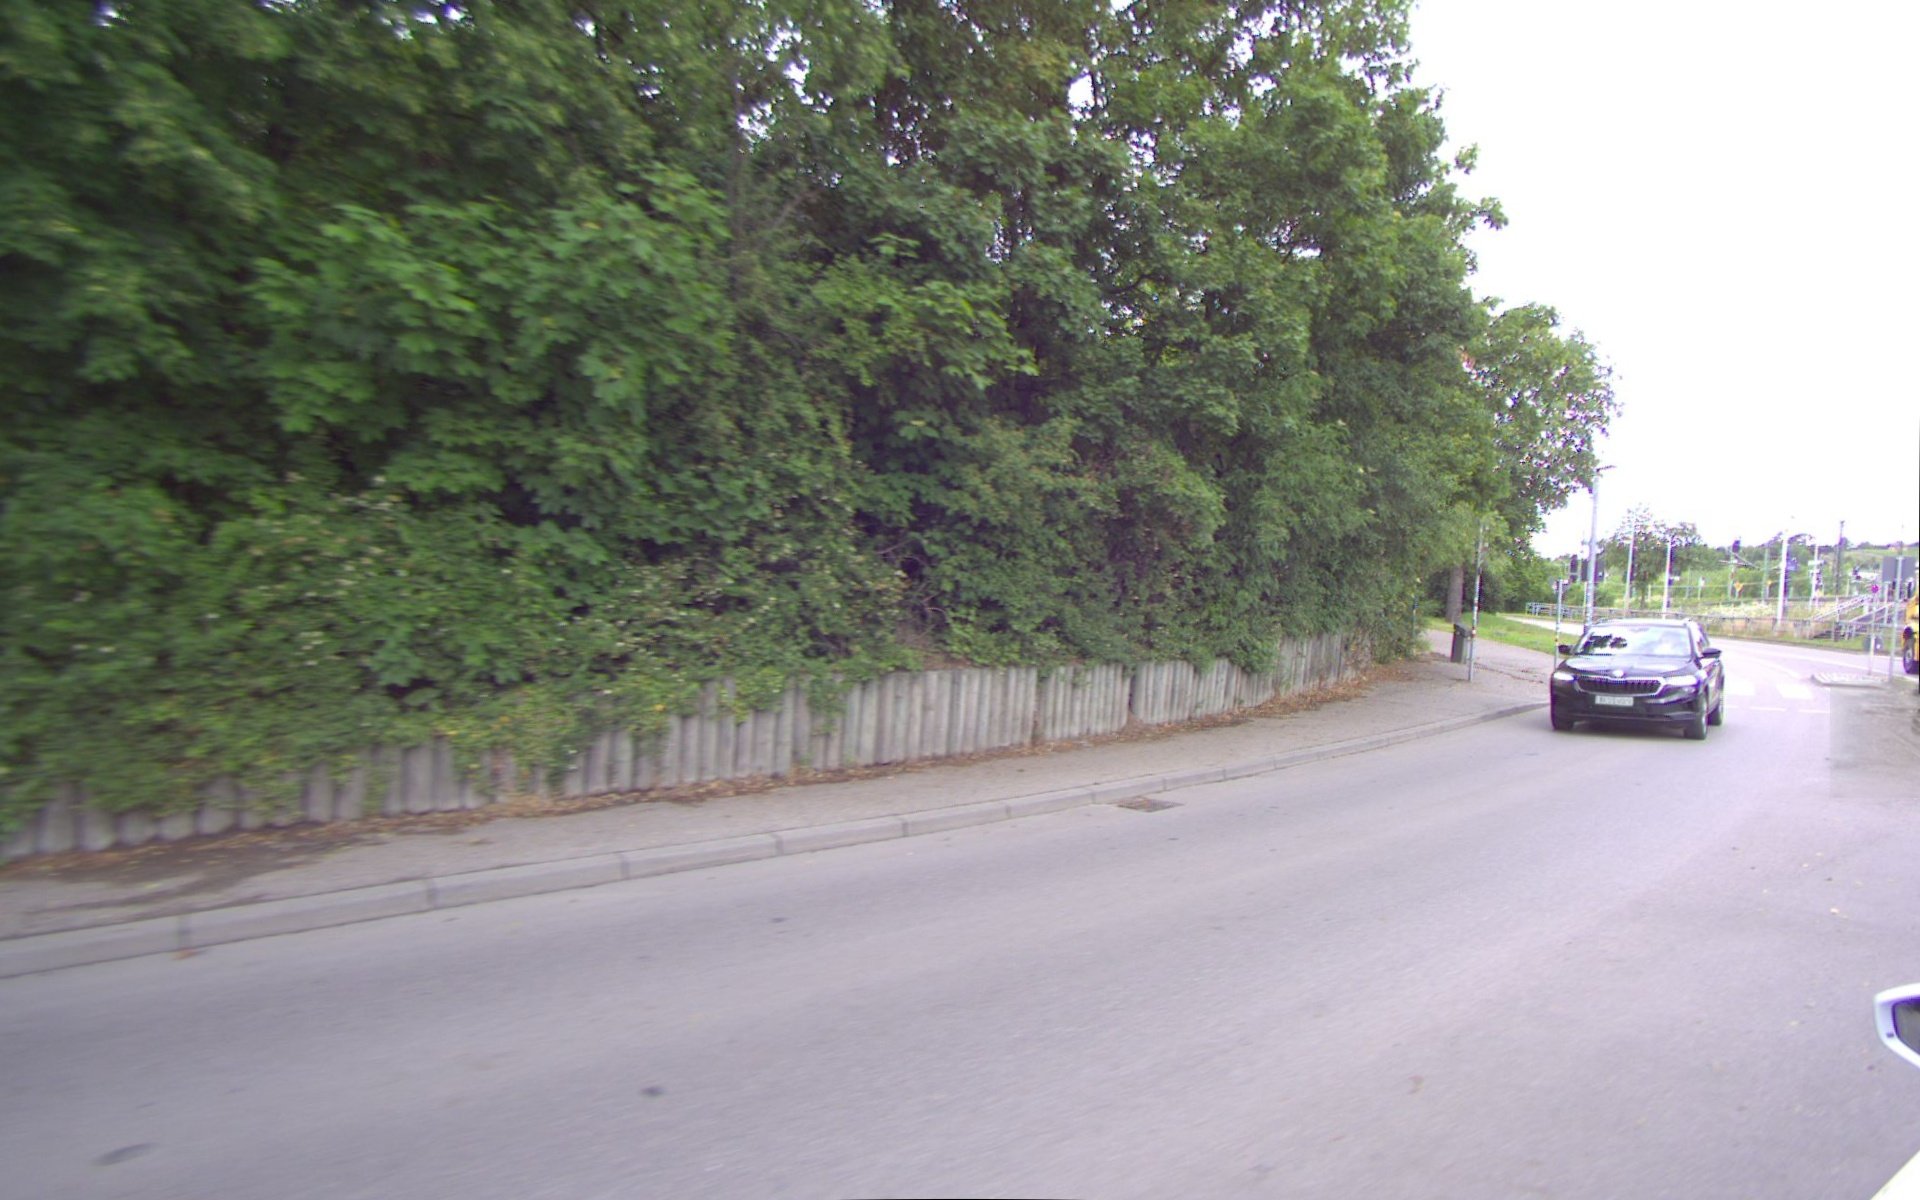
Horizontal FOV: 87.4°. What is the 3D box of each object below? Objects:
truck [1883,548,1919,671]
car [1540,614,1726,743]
[{"bbox_3d":[28.452,0.324,27.678,2.725,3.531,8.109,3,2,31],"label":"truck"},{"bbox_3d":[10.081,1.049,14.910,1.782,1.631,4.155,-1,-2,41],"label":"car"}]
